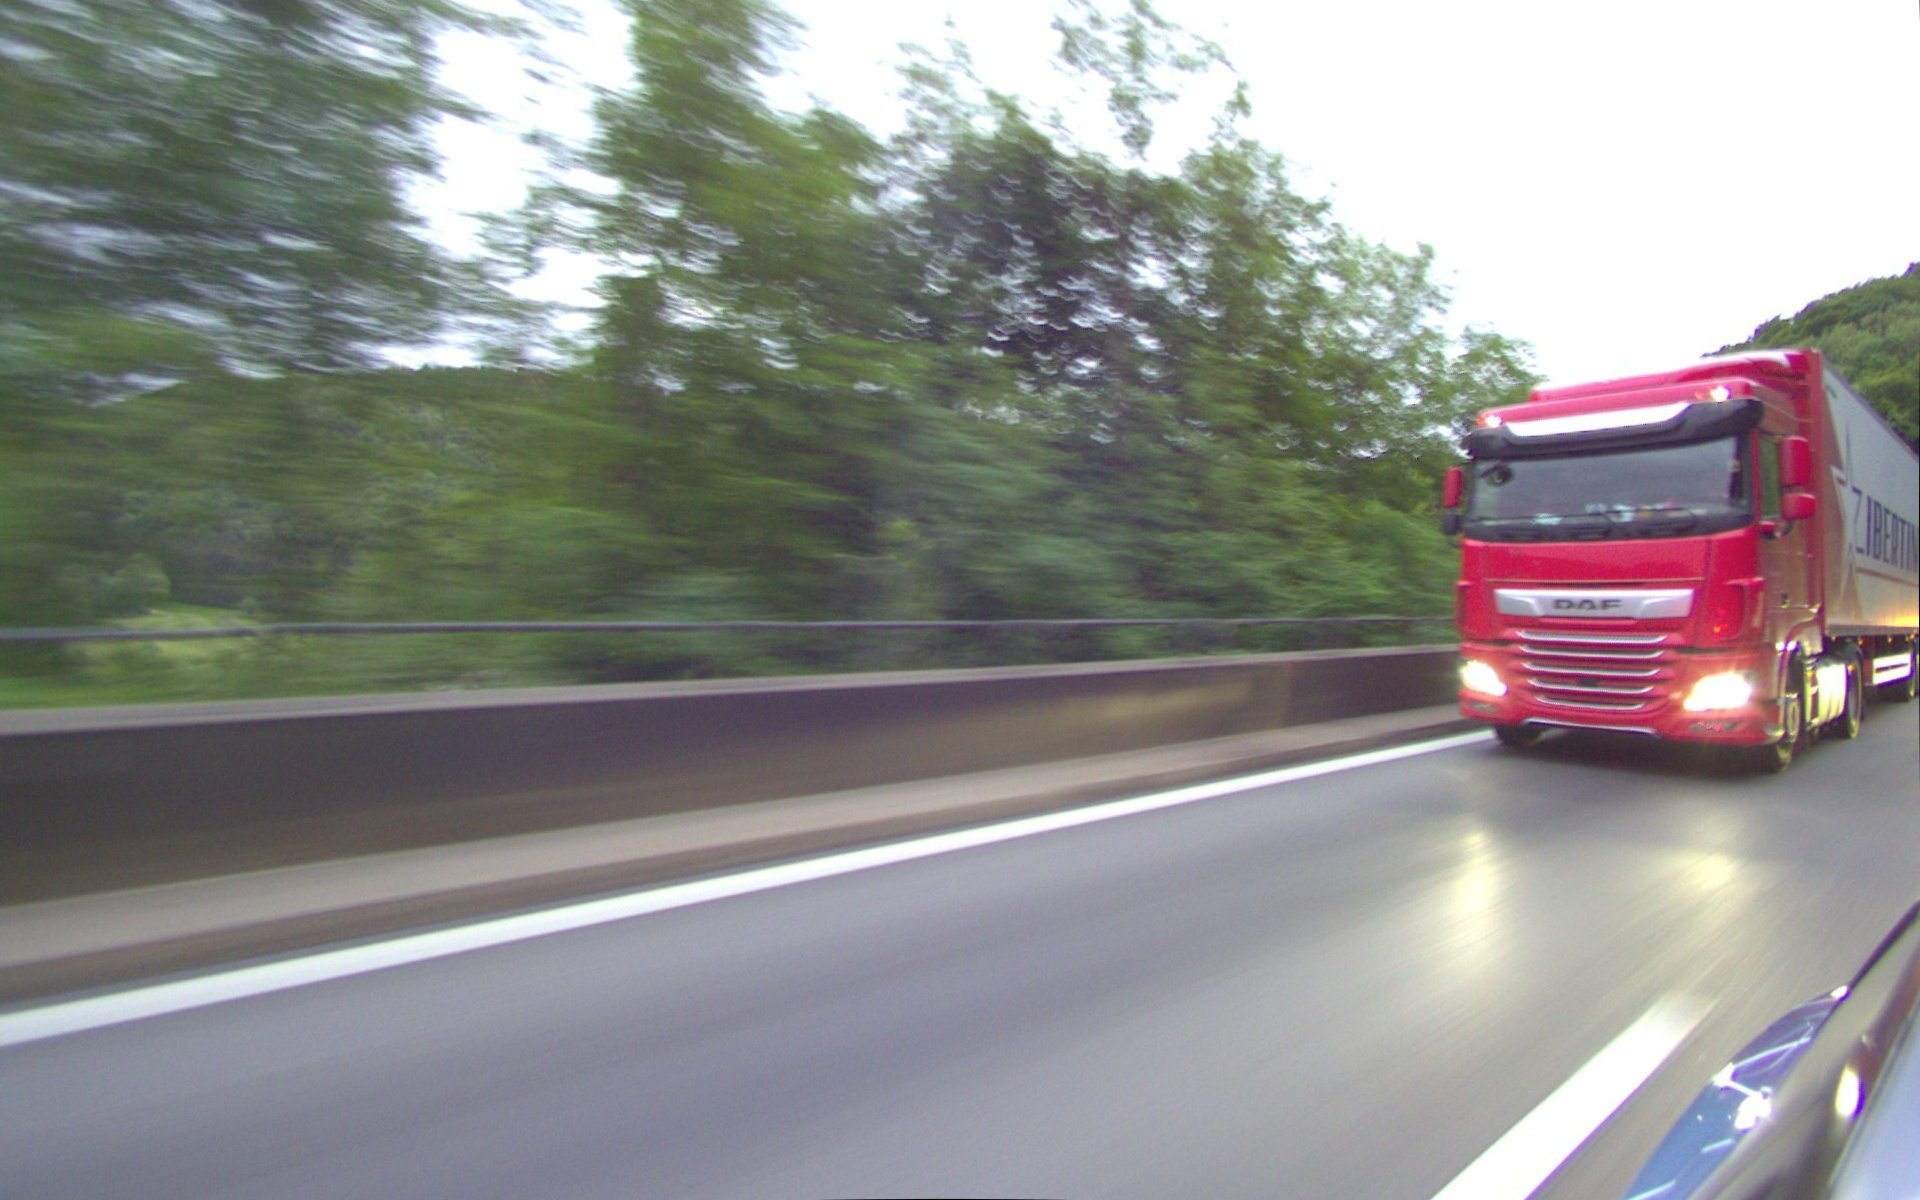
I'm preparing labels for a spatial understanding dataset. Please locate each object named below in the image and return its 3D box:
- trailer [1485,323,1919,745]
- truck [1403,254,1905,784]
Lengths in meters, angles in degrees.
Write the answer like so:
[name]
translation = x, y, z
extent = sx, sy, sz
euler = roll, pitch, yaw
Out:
[trailer]
translation = 12.566, -0.612, 15.426
extent = 13.968, 4.019, 3.103
euler = 1, 1, -41
[truck]
translation = 7.945, -0.663, 11.266
extent = 6.333, 4.197, 3.075
euler = 0, 0, -41
